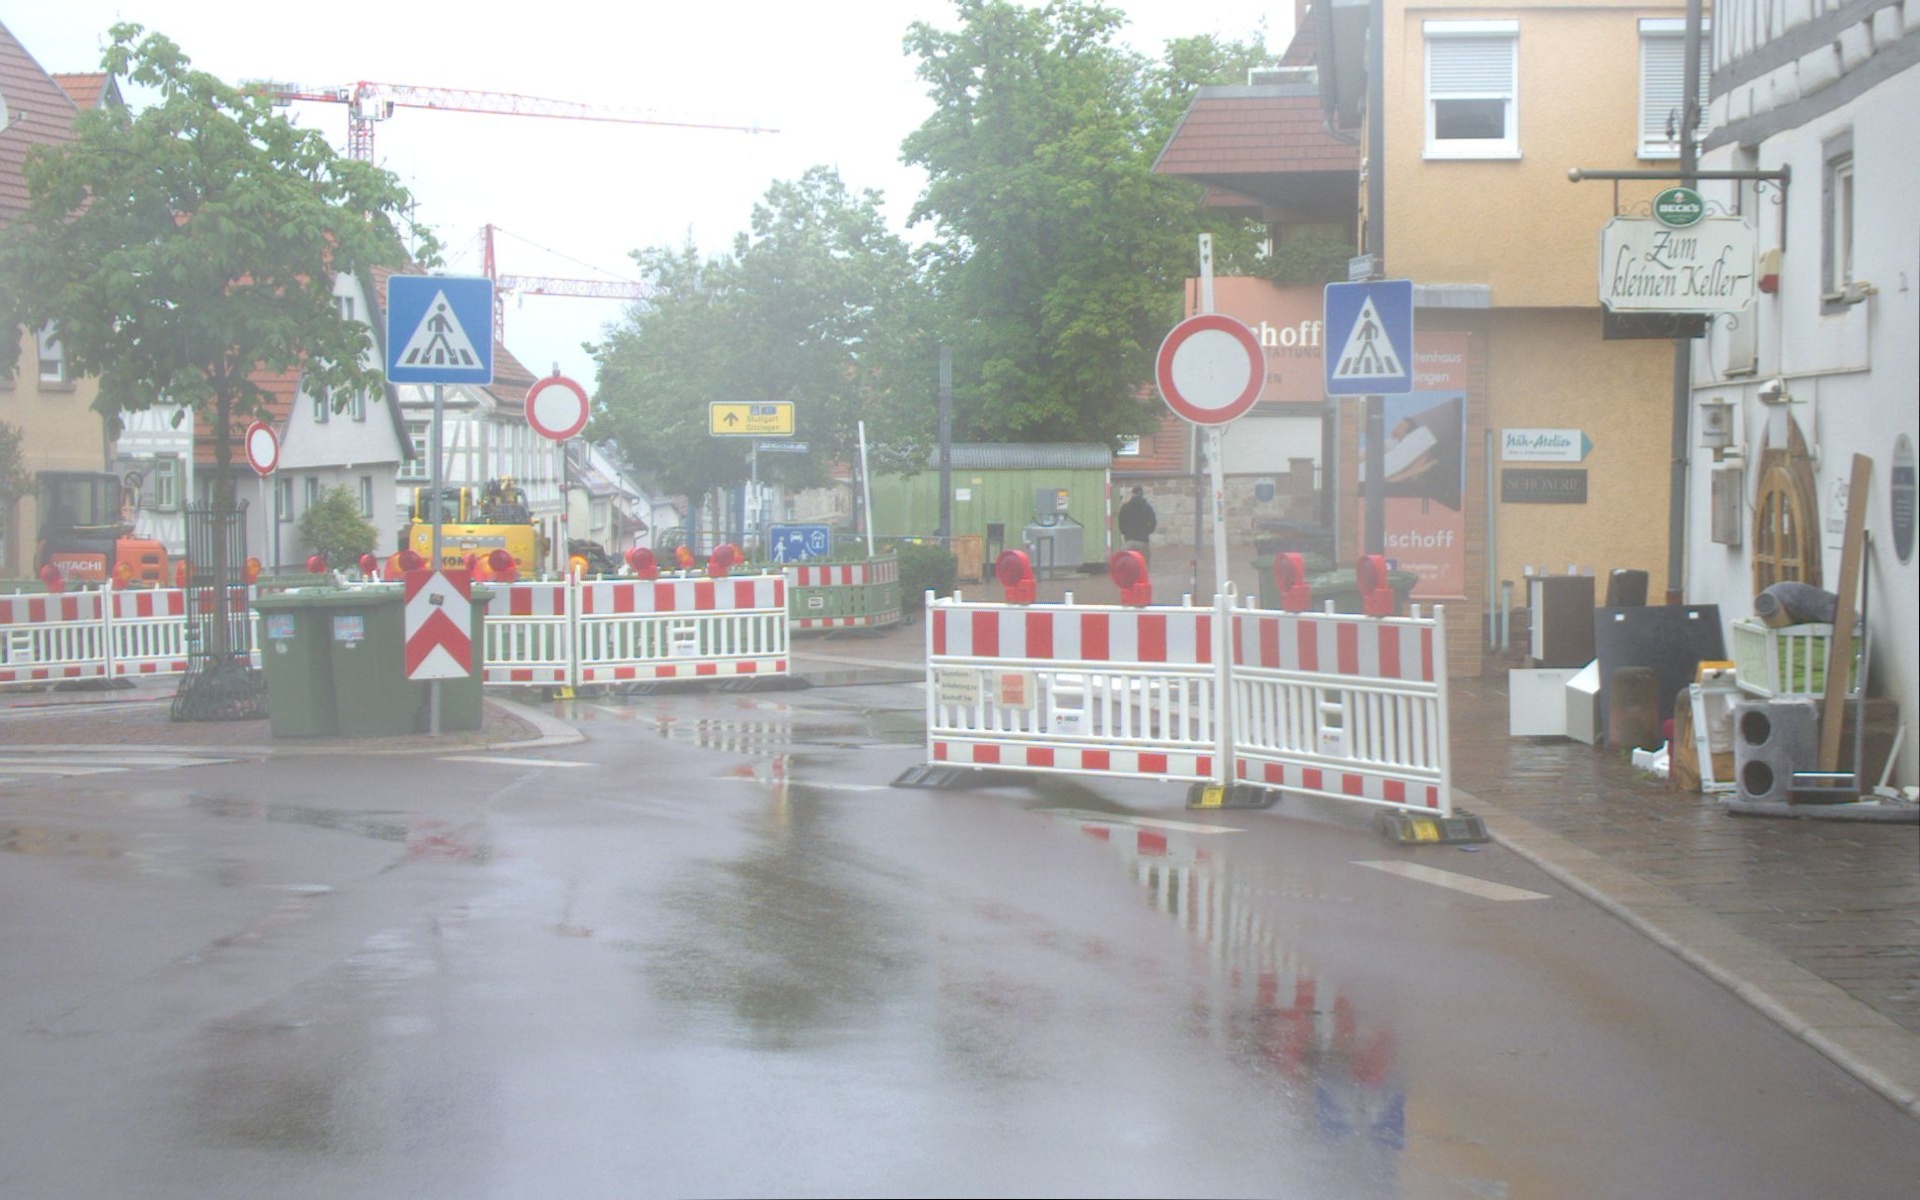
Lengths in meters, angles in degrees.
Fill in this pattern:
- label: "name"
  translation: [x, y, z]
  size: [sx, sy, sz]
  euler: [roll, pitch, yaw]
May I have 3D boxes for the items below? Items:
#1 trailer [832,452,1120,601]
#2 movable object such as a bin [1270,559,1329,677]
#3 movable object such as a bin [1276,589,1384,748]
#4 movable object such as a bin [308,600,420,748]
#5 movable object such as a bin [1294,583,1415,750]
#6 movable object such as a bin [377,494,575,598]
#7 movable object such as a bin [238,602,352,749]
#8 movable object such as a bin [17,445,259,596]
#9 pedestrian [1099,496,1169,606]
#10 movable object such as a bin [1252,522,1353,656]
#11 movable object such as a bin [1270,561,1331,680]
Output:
- label: "trailer"
  translation: [0.293, -1.505, 71.161]
  size: [5.780, 2.937, 2.000]
  euler: [1, 0, -4]
- label: "movable object such as a bin"
  translation: [3.390, 0.176, 34.376]
  size: [0.516, 1.125, 0.580]
  euler: [-3, 2, 4]
- label: "movable object such as a bin"
  translation: [2.524, 0.464, 23.428]
  size: [0.616, 1.062, 0.539]
  euler: [-1, 0, 17]
- label: "movable object such as a bin"
  translation: [-4.198, 0.520, 24.211]
  size: [0.544, 1.029, 0.533]
  euler: [-2, -1, 34]
- label: "movable object such as a bin"
  translation: [2.605, 0.433, 22.734]
  size: [0.678, 1.062, 0.540]
  euler: [-1, 1, -6]
- label: "movable object such as a bin"
  translation: [-9.749, -1.082, 69.568]
  size: [3.402, 2.007, 3.478]
  euler: [1, 0, 2]
- label: "movable object such as a bin"
  translation: [-4.748, 0.535, 24.563]
  size: [0.541, 1.033, 0.571]
  euler: [-2, -1, 34]
- label: "movable object such as a bin"
  translation: [-11.655, -1.103, 49.009]
  size: [1.905, 2.007, 3.998]
  euler: [-2, 0, 9]
- label: "pedestrian"
  translation: [2.796, -0.787, 55.451]
  size: [0.990, 1.753, 0.852]
  euler: [1, 0, -5]
- label: "movable object such as a bin"
  translation: [4.044, -0.139, 40.502]
  size: [1.065, 1.507, 1.242]
  euler: [-3, 1, 8]
- label: "movable object such as a bin"
  translation: [3.342, 0.198, 33.770]
  size: [0.517, 1.128, 0.580]
  euler: [-3, 2, 4]
